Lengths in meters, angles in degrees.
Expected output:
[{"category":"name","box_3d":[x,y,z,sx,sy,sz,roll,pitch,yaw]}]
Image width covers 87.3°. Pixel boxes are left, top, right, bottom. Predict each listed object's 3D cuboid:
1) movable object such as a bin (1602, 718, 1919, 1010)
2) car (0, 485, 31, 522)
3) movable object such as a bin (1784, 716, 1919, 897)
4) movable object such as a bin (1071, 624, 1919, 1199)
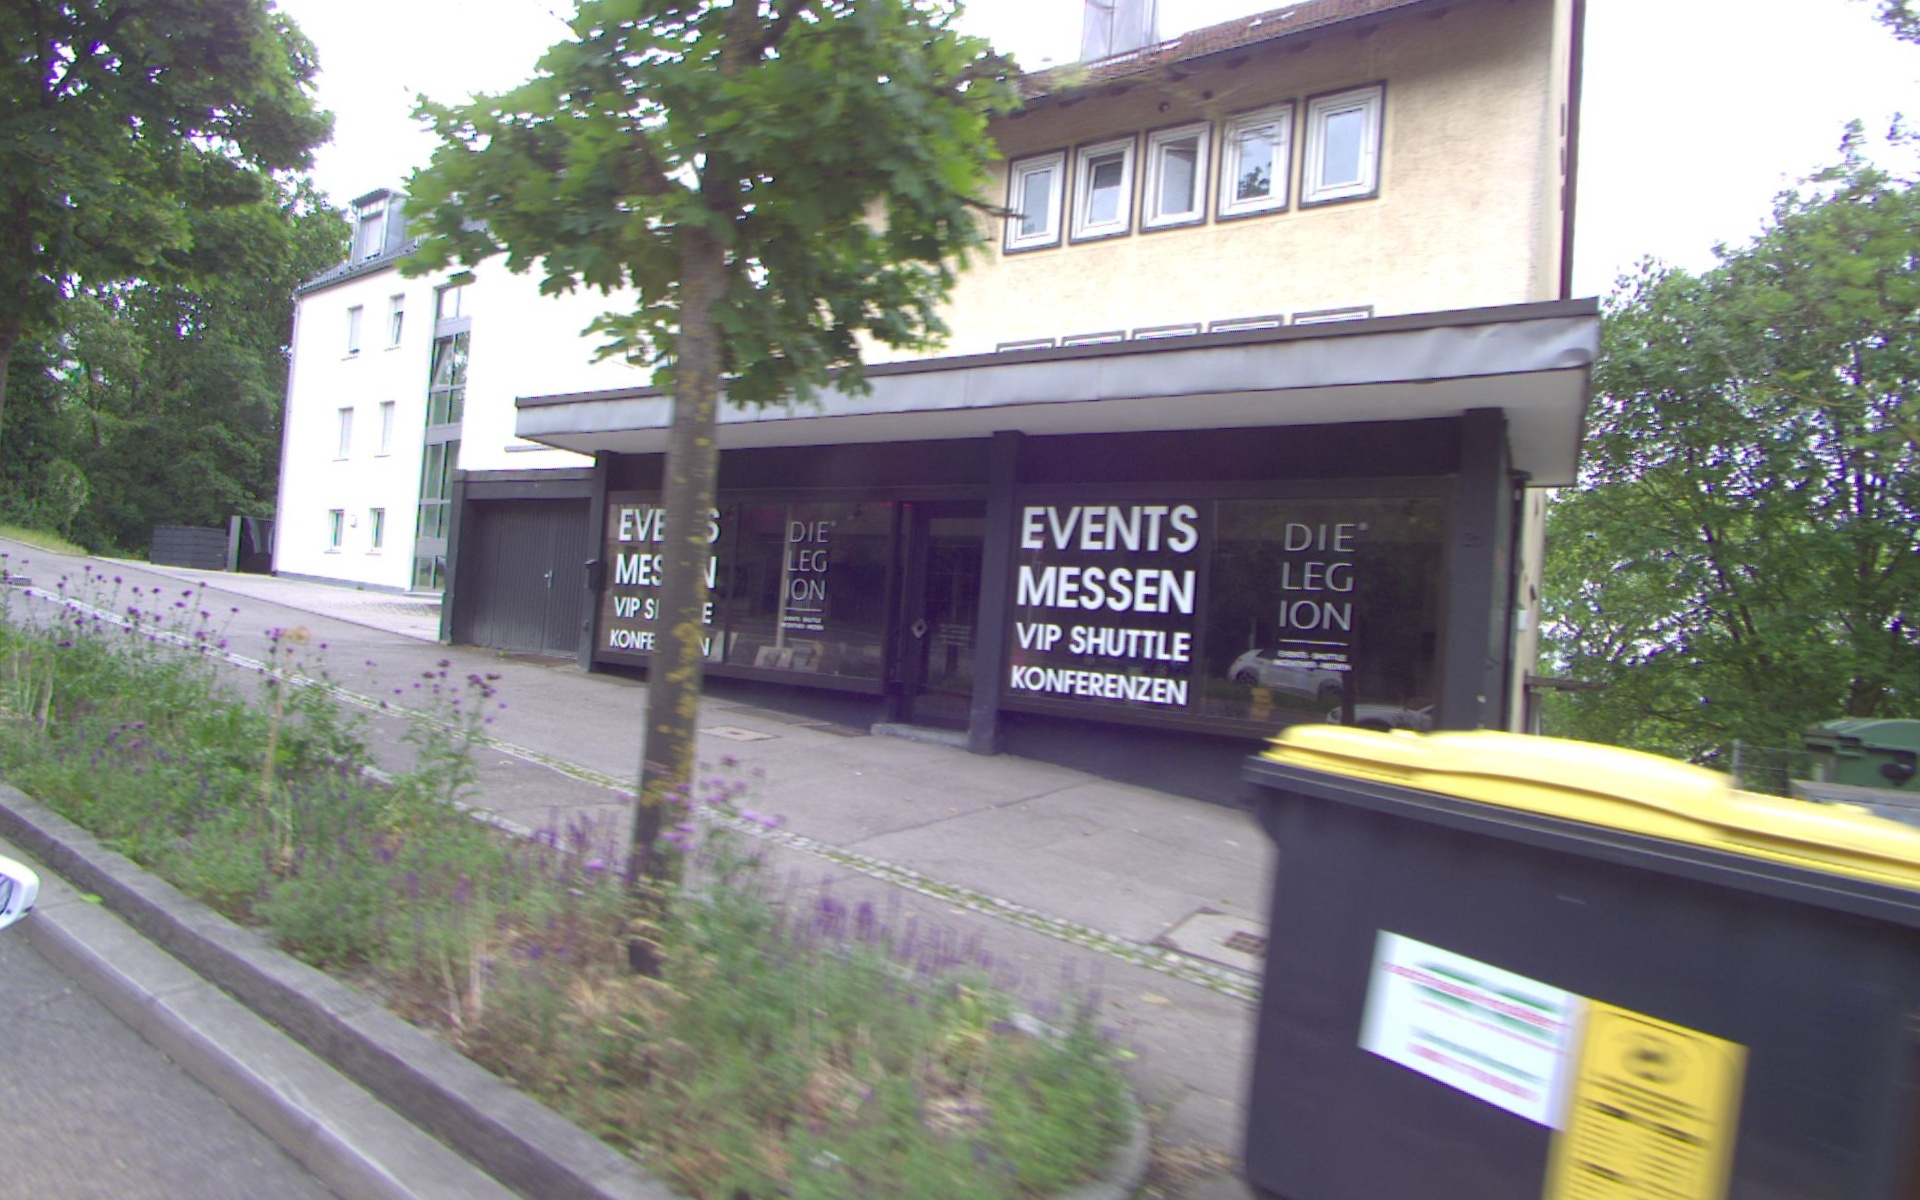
[{"category":"movable object such as a bin","box_3d":[6.601,1.831,6.528,3.936,1.469,1.891,7,-1,34]},{"category":"car","box_3d":[-41.051,-4.205,42.155,1.764,1.426,3.977,9,-2,-24]},{"category":"movable object such as a bin","box_3d":[8.409,1.857,9.214,1.053,1.426,1.342,7,-1,34]},{"category":"movable object such as a bin","box_3d":[1.251,0.930,2.377,1.512,1.499,1.087,7,-1,33]}]
